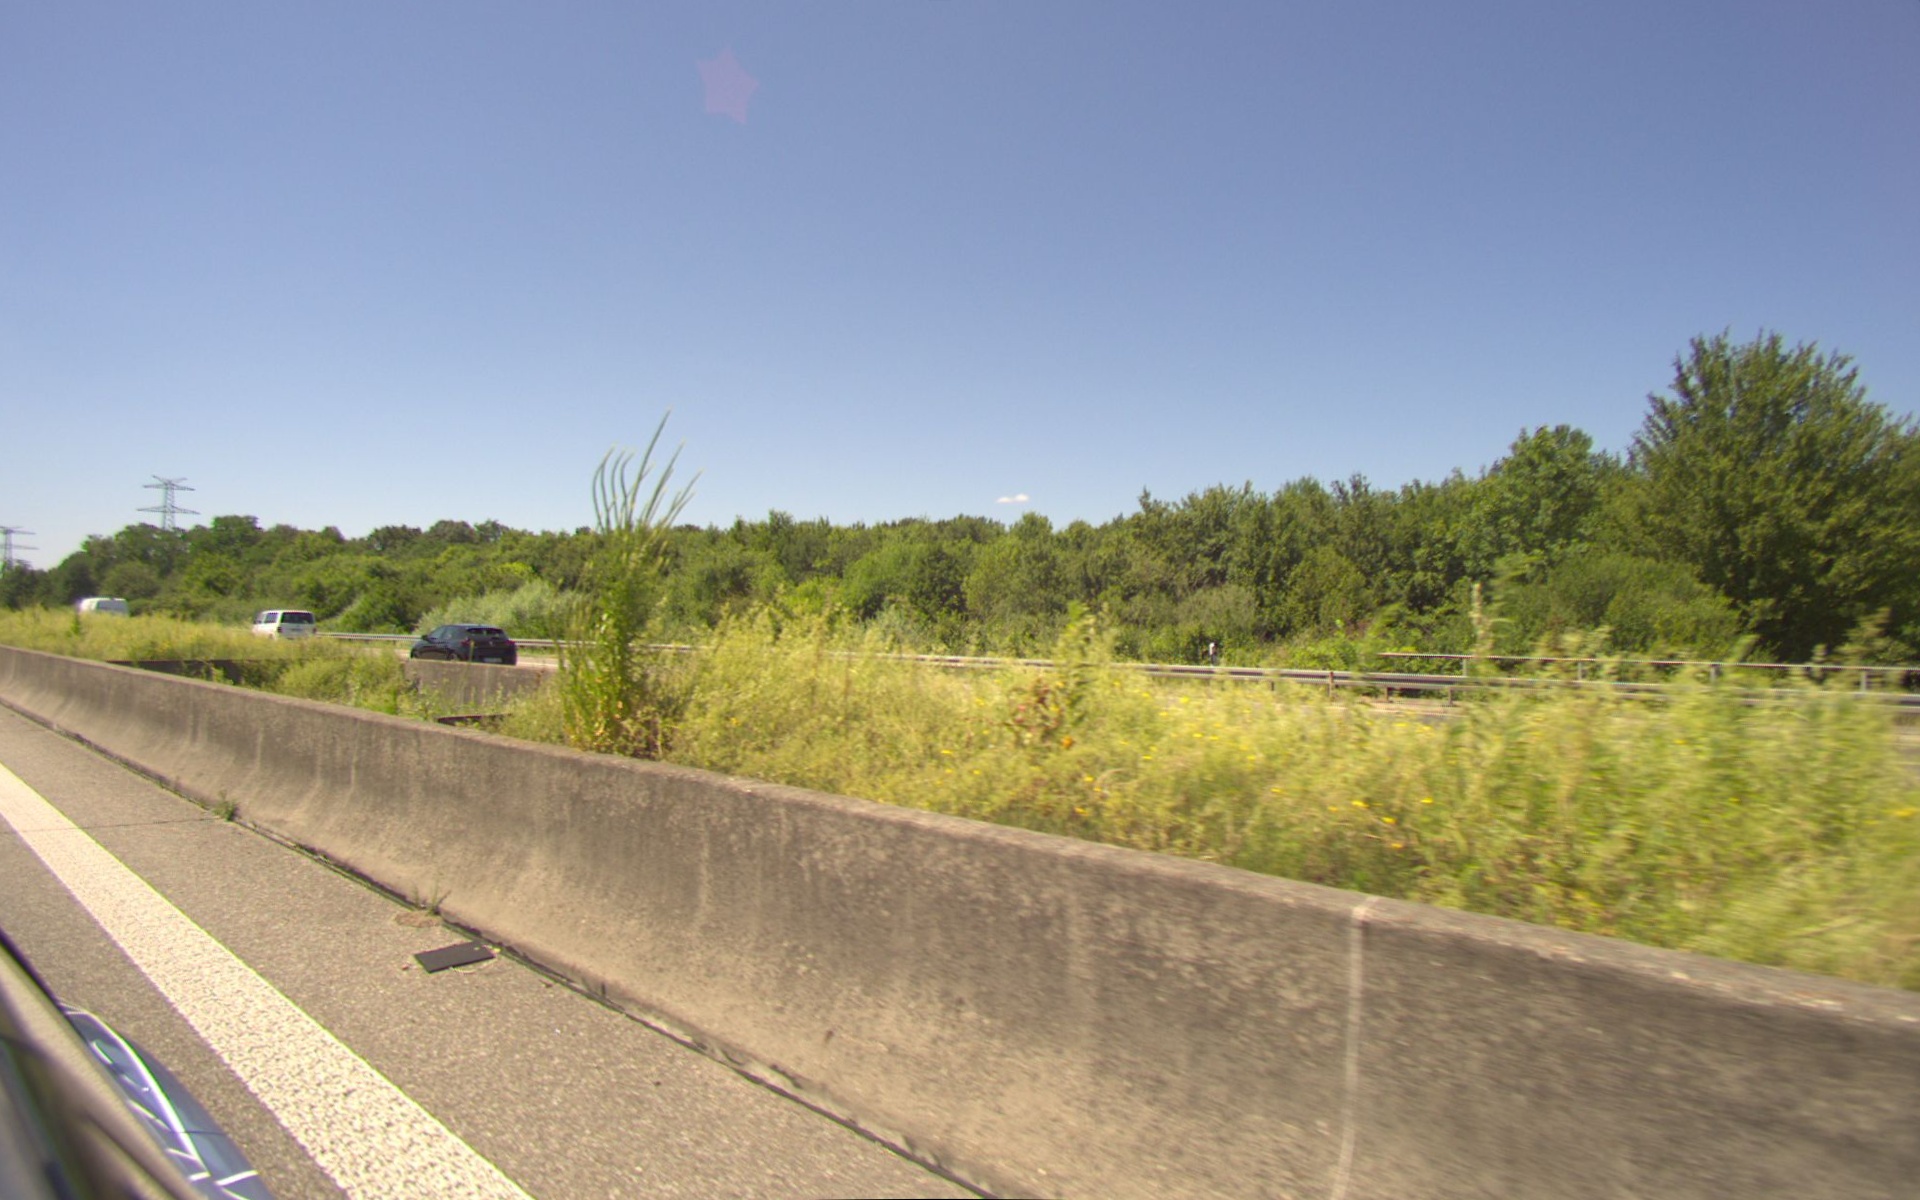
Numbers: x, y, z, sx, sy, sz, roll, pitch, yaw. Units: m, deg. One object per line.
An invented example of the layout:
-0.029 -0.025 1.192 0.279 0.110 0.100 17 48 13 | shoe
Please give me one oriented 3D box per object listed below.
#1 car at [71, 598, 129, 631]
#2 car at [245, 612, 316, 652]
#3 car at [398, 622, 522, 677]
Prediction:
-56.961 0.942 66.983 6.552 2.029 1.973 -1 1 41 | car
-35.887 1.660 53.361 5.072 2.029 1.862 -1 -1 41 | car
-14.460 1.407 29.153 4.257 1.475 1.651 -1 -4 41 | car
